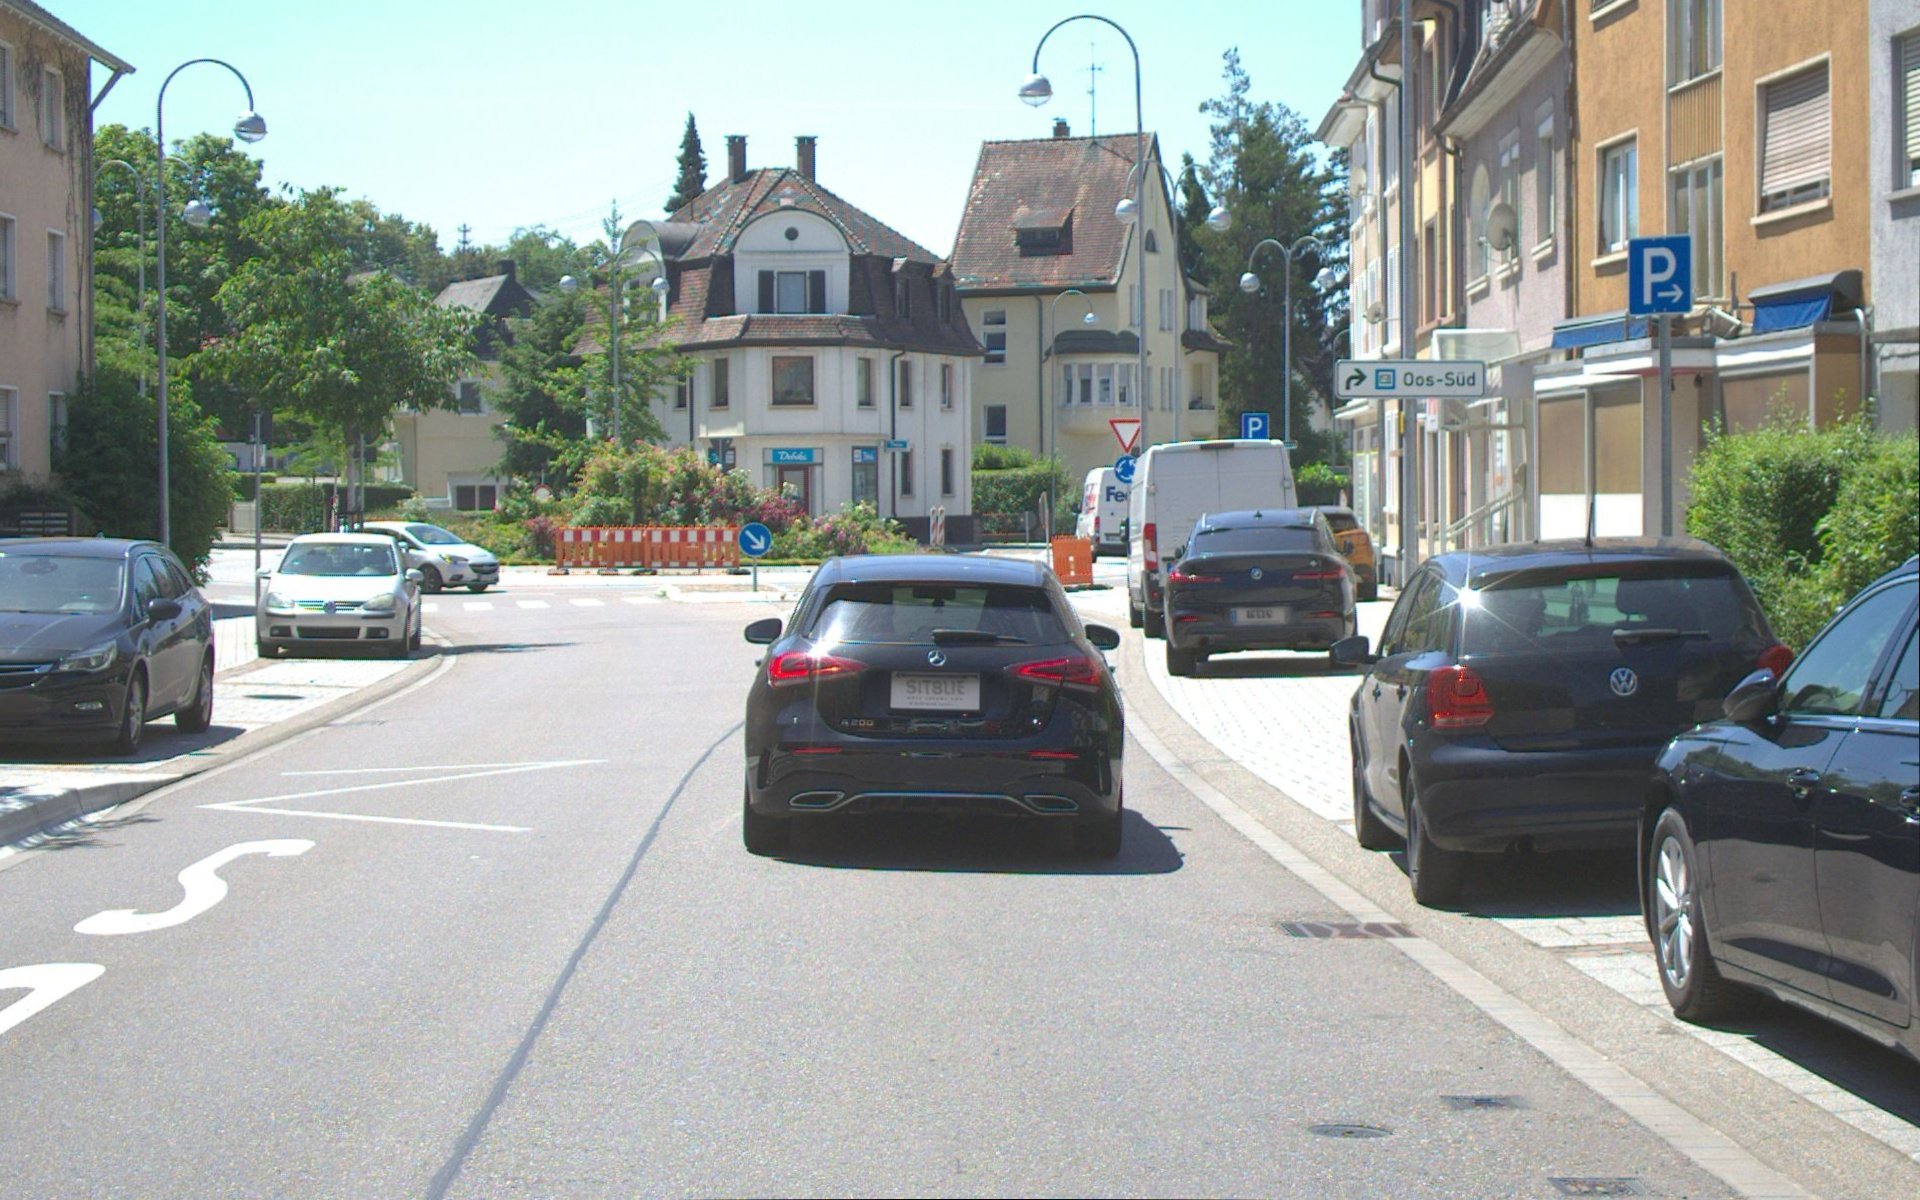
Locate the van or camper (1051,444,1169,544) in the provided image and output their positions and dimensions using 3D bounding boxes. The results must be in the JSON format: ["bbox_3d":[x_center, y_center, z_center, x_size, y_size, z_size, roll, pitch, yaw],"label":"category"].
[{"bbox_3d":[4.022,-2.829,91.673,2.207,2.601,3.997,1,2,17],"label":"van or camper"}]

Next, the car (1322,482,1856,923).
[{"bbox_3d":[2.635,0.330,15.257,1.728,1.627,4.000,-3,2,2],"label":"car"}]

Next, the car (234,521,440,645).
[{"bbox_3d":[-7.461,-0.226,41.507,1.993,1.415,4.089,0,1,-4],"label":"car"}]

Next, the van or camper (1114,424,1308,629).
[{"bbox_3d":[3.335,-1.019,46.805,2.165,2.580,5.766,-1,2,0],"label":"van or camper"}]

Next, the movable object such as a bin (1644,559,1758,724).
[{"bbox_3d":[4.985,0.272,23.145,0.593,1.073,0.647,-1,1,-2],"label":"movable object such as a bin"}]

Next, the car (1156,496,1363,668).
[{"bbox_3d":[3.138,-0.223,35.324,1.896,1.602,4.363,-2,1,7],"label":"car"}]

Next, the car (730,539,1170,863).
[{"bbox_3d":[-0.081,0.438,17.403,1.953,1.422,4.000,1,0,-1],"label":"car"}]

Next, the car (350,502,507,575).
[{"bbox_3d":[-11.182,-1.301,72.188,1.660,1.491,3.758,-2,2,-37],"label":"car"}]

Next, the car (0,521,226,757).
[{"bbox_3d":[-6.645,0.209,24.974,1.857,1.501,4.563,0,2,-3],"label":"car"}]

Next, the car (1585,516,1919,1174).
[{"bbox_3d":[3.077,0.536,8.968,1.803,1.470,4.721,-3,2,-2],"label":"car"}]
